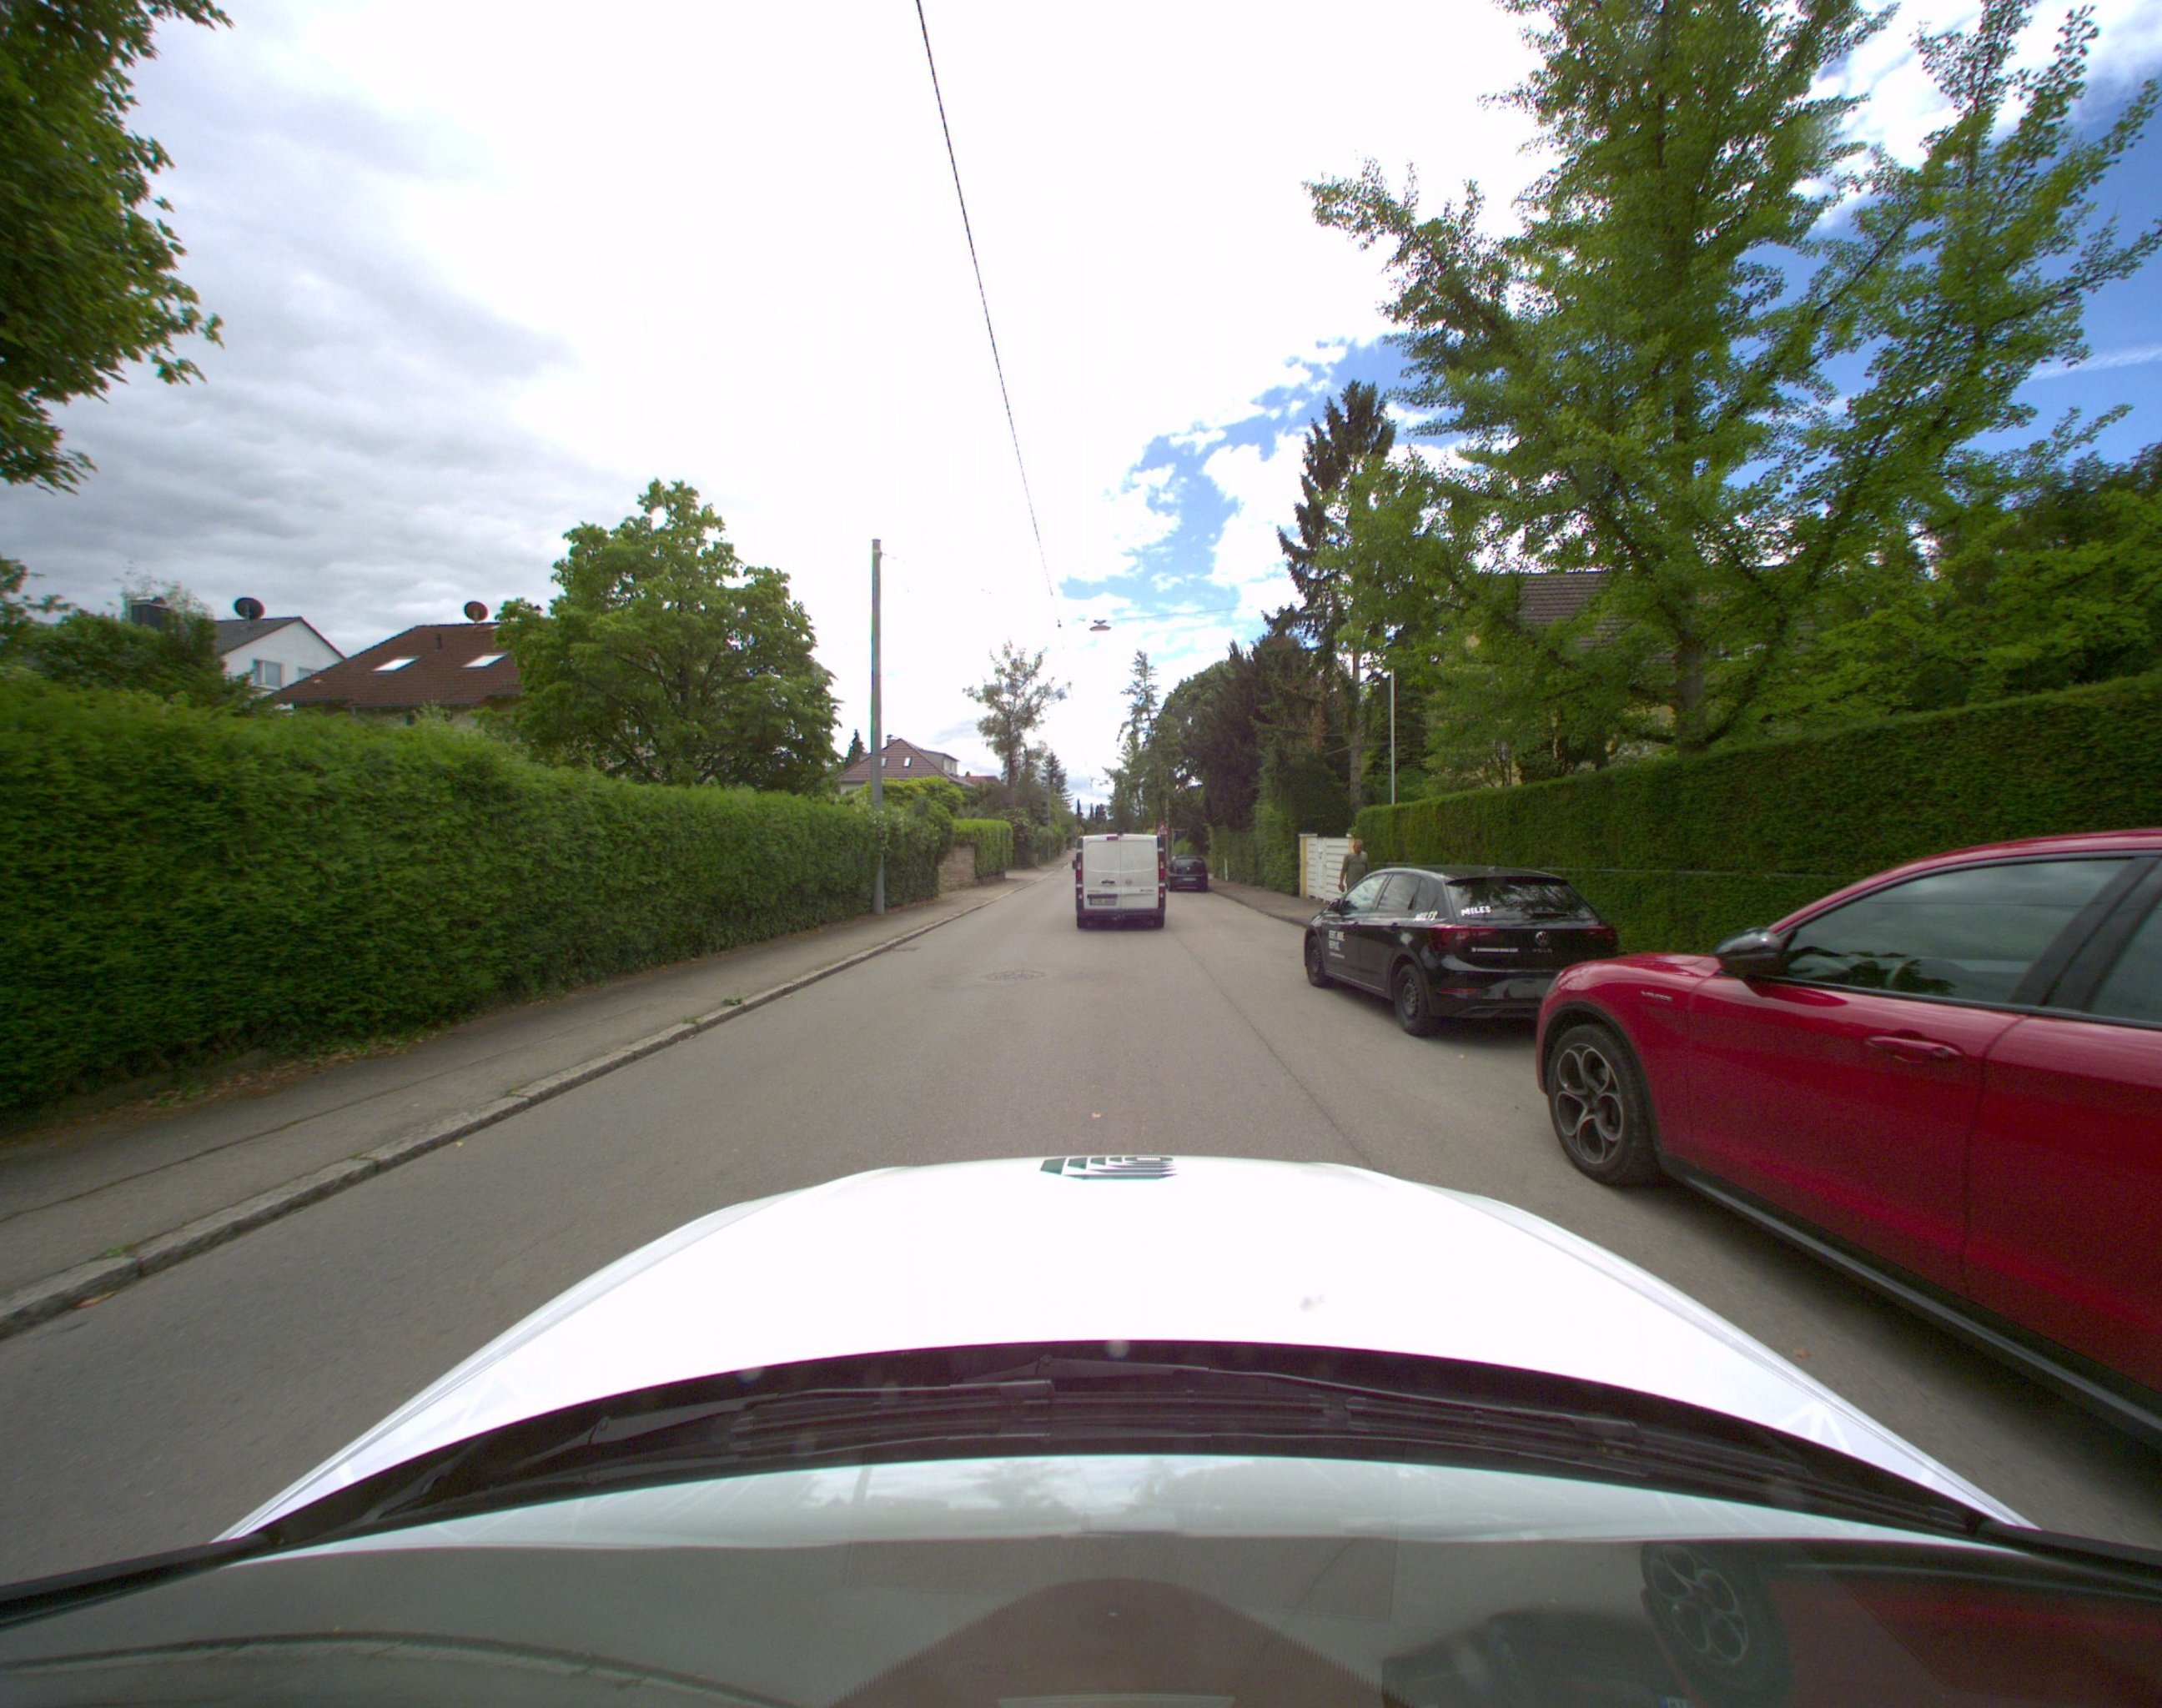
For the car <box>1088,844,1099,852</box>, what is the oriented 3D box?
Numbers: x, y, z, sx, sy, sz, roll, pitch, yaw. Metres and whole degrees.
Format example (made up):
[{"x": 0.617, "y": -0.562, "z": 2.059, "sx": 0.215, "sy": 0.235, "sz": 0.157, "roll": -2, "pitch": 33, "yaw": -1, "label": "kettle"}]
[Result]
[{"x": 2.318, "y": -1.172, "z": 152.371, "sx": 1.797, "sy": 1.431, "sz": 4.306, "roll": -3, "pitch": 1, "yaw": 4, "label": "car"}]

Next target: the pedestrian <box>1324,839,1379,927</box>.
[{"x": 5.414, "y": 0.564, "z": 16.335, "sx": 0.669, "sy": 1.698, "sz": 0.915, "roll": -2, "pitch": 0, "yaw": -8, "label": "pedestrian"}]

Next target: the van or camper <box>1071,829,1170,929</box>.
[{"x": 0.822, "y": 0.498, "z": 18.499, "sx": 1.932, "sy": 1.954, "sz": 4.766, "roll": 1, "pitch": 0, "yaw": 1, "label": "van or camper"}]

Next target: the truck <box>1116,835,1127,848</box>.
[{"x": 8.186, "y": -2.505, "z": 164.965, "sx": 2.179, "sy": 2.471, "sz": 7.434, "roll": 1, "pitch": 1, "yaw": 2, "label": "truck"}]

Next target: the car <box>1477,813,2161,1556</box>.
[{"x": 3.249, "y": 0.673, "z": 2.491, "sx": 1.881, "sy": 1.581, "sz": 4.768, "roll": -2, "pitch": 0, "yaw": 2, "label": "car"}]

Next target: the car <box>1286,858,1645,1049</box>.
[{"x": 3.509, "y": 0.784, "z": 8.360, "sx": 1.674, "sy": 1.407, "sz": 4.051, "roll": -2, "pitch": 0, "yaw": -1, "label": "car"}]

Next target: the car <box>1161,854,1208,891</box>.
[{"x": 4.354, "y": 0.737, "z": 34.650, "sx": 1.617, "sy": 1.473, "sz": 3.742, "roll": 0, "pitch": 0, "yaw": 2, "label": "car"}]
